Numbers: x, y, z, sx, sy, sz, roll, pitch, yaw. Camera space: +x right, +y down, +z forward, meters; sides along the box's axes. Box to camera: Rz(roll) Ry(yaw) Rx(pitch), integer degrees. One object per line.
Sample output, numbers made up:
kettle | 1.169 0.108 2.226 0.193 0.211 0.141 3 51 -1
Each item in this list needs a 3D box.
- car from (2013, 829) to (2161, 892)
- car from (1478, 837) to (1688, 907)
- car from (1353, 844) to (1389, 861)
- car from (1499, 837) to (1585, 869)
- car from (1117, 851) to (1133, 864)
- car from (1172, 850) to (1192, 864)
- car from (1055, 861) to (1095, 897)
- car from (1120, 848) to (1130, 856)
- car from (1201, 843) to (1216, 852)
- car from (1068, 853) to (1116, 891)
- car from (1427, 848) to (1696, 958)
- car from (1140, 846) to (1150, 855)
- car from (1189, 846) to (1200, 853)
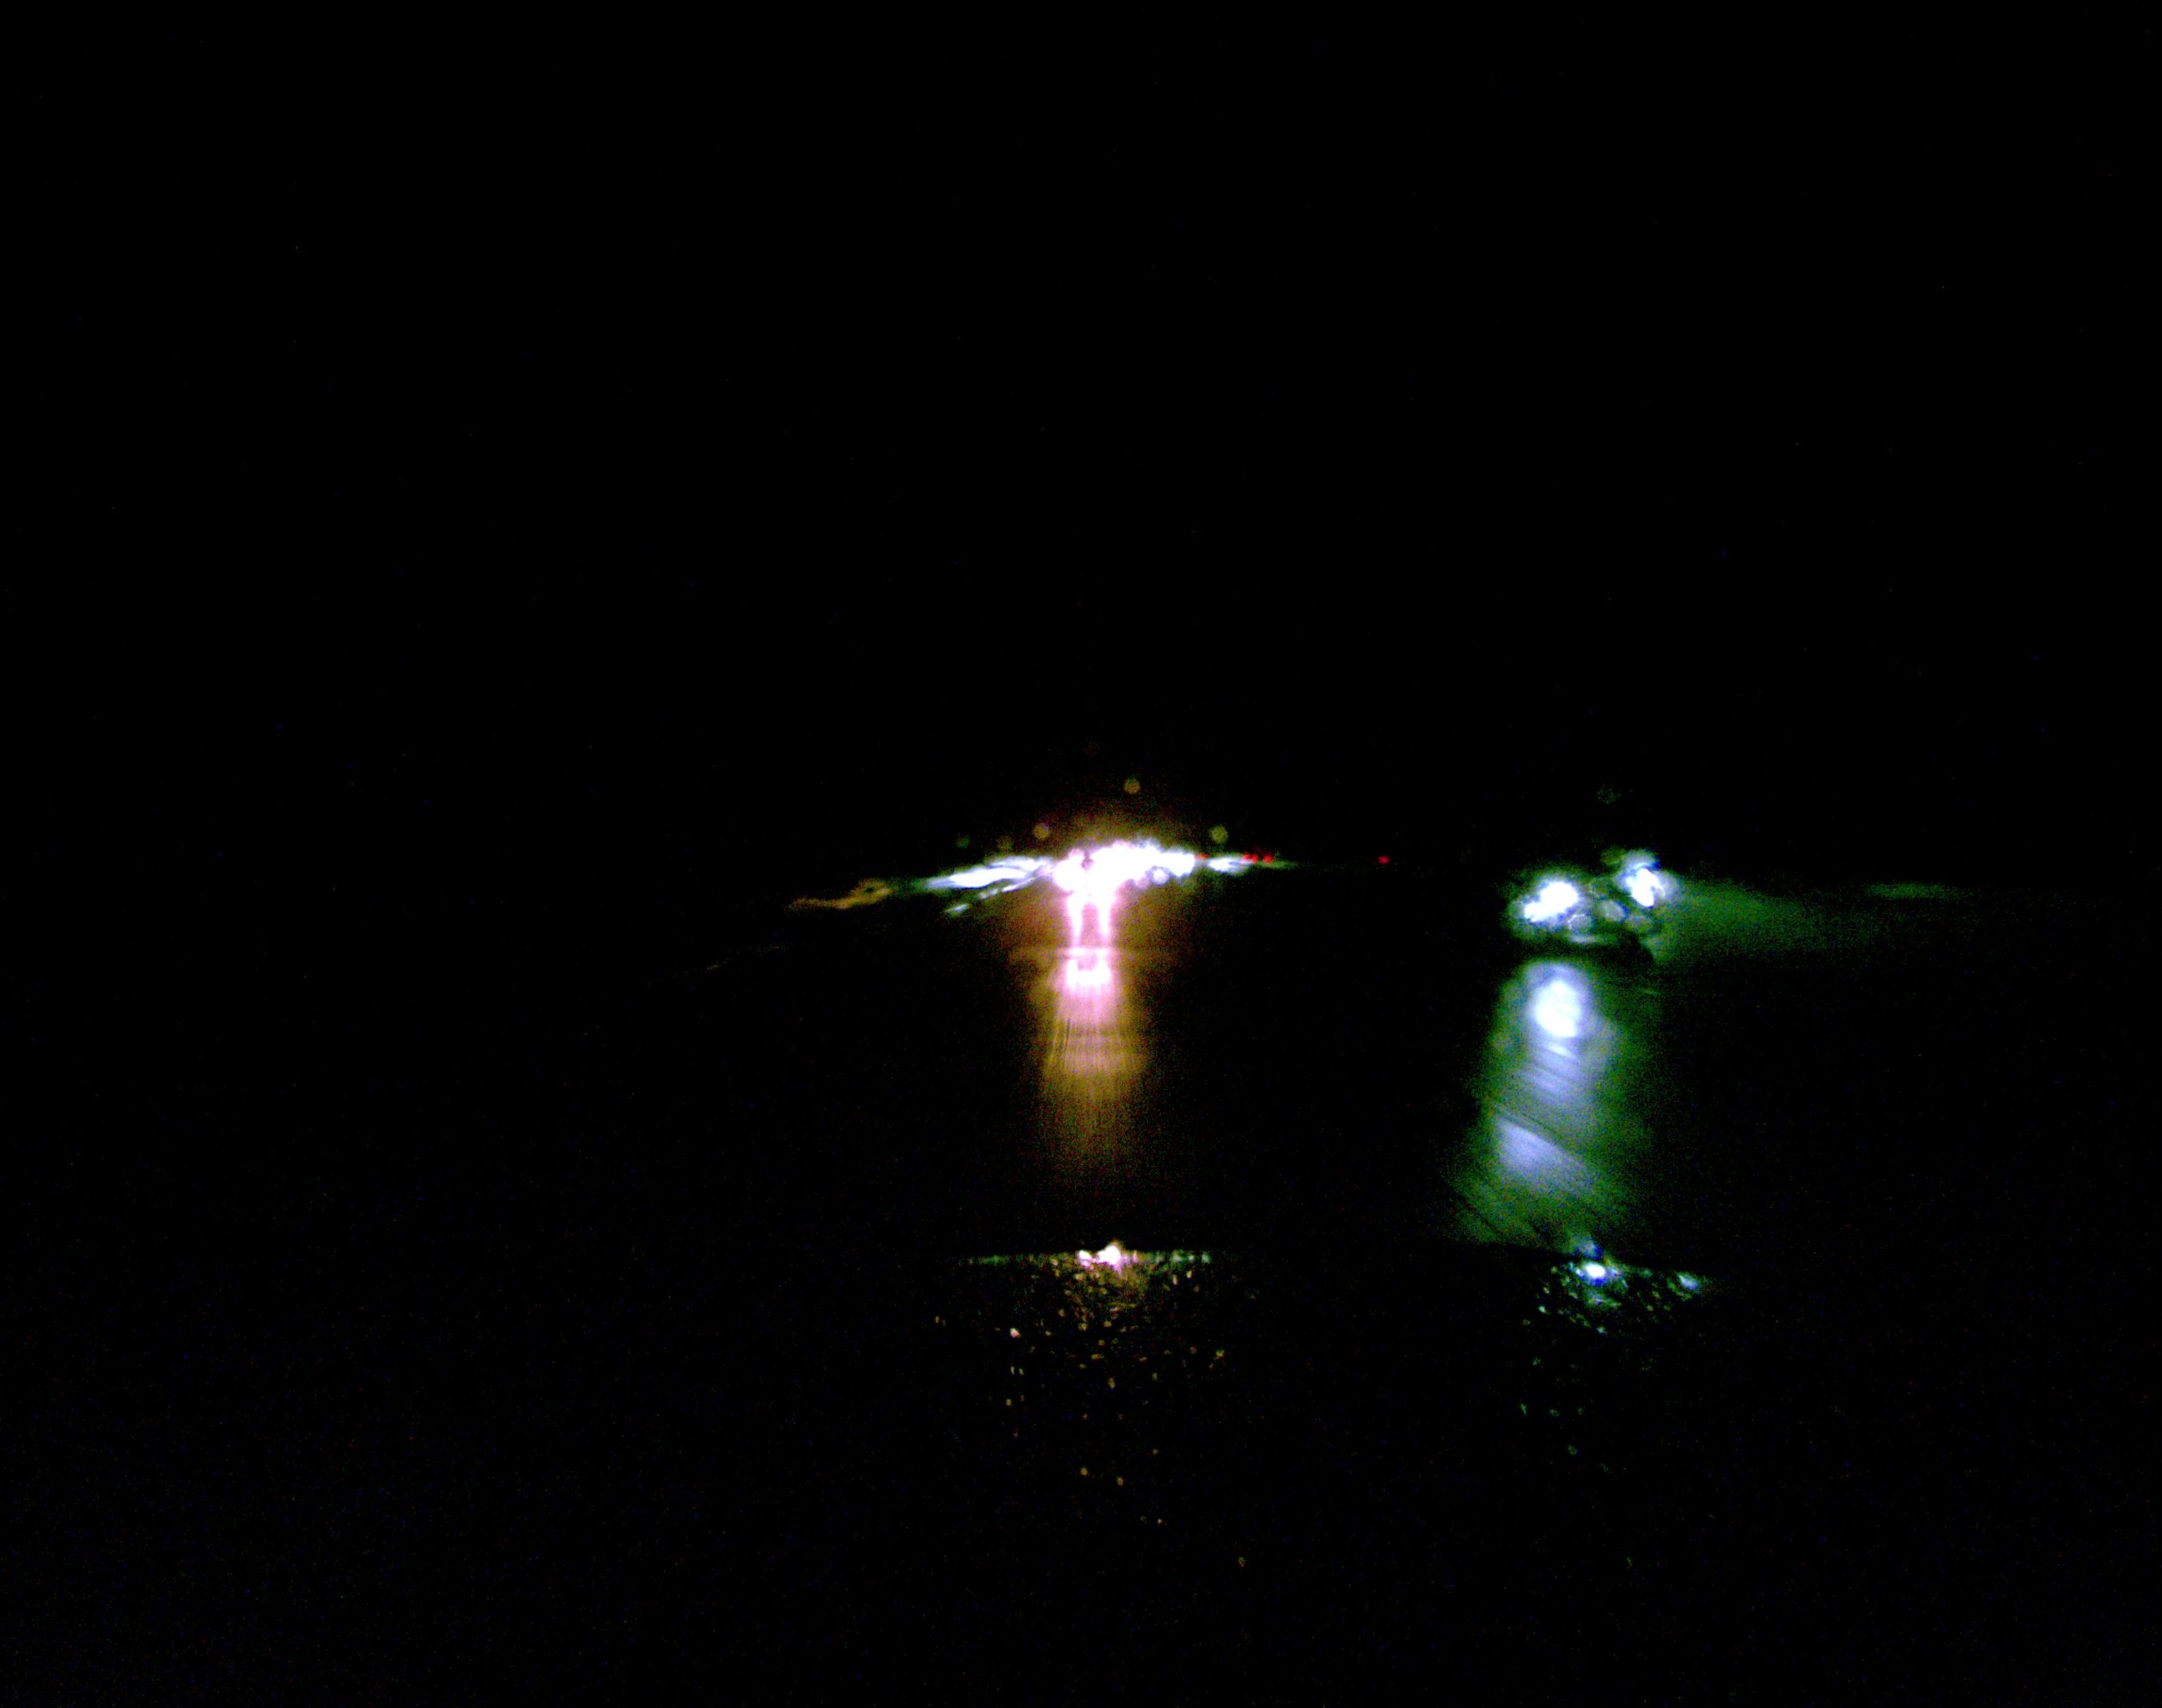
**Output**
car | 28.821 0.146 20.505 1.884 1.548 4.459 -2 1 0
car | 12.389 0.339 19.289 1.998 1.468 5.164 -2 1 2
car | 29.112 -0.145 76.462 1.885 1.548 4.459 -2 1 -1
car | 24.740 -0.070 40.956 1.885 1.548 4.459 -2 1 -1
car | 5.902 0.452 101.828 1.998 1.552 4.587 -2 1 1
car | 12.852 0.332 96.601 1.998 1.552 4.587 -2 1 1
car | -0.210 1.012 31.703 1.525 1.256 3.368 -2 1 1
car | 9.551 -0.526 165.363 1.998 1.552 4.587 -2 1 1
car | 23.335 -1.206 139.598 1.885 1.548 4.459 -2 1 -1
car | 0.521 0.800 34.500 1.998 1.542 4.001 -2 -1 1
car | 7.669 0.674 12.683 1.998 1.433 3.999 -2 1 1
car | 14.124 -0.712 167.956 1.998 1.797 4.000 -2 1 2
car | 28.454 -1.134 190.674 1.884 1.712 4.562 -2 1 0
